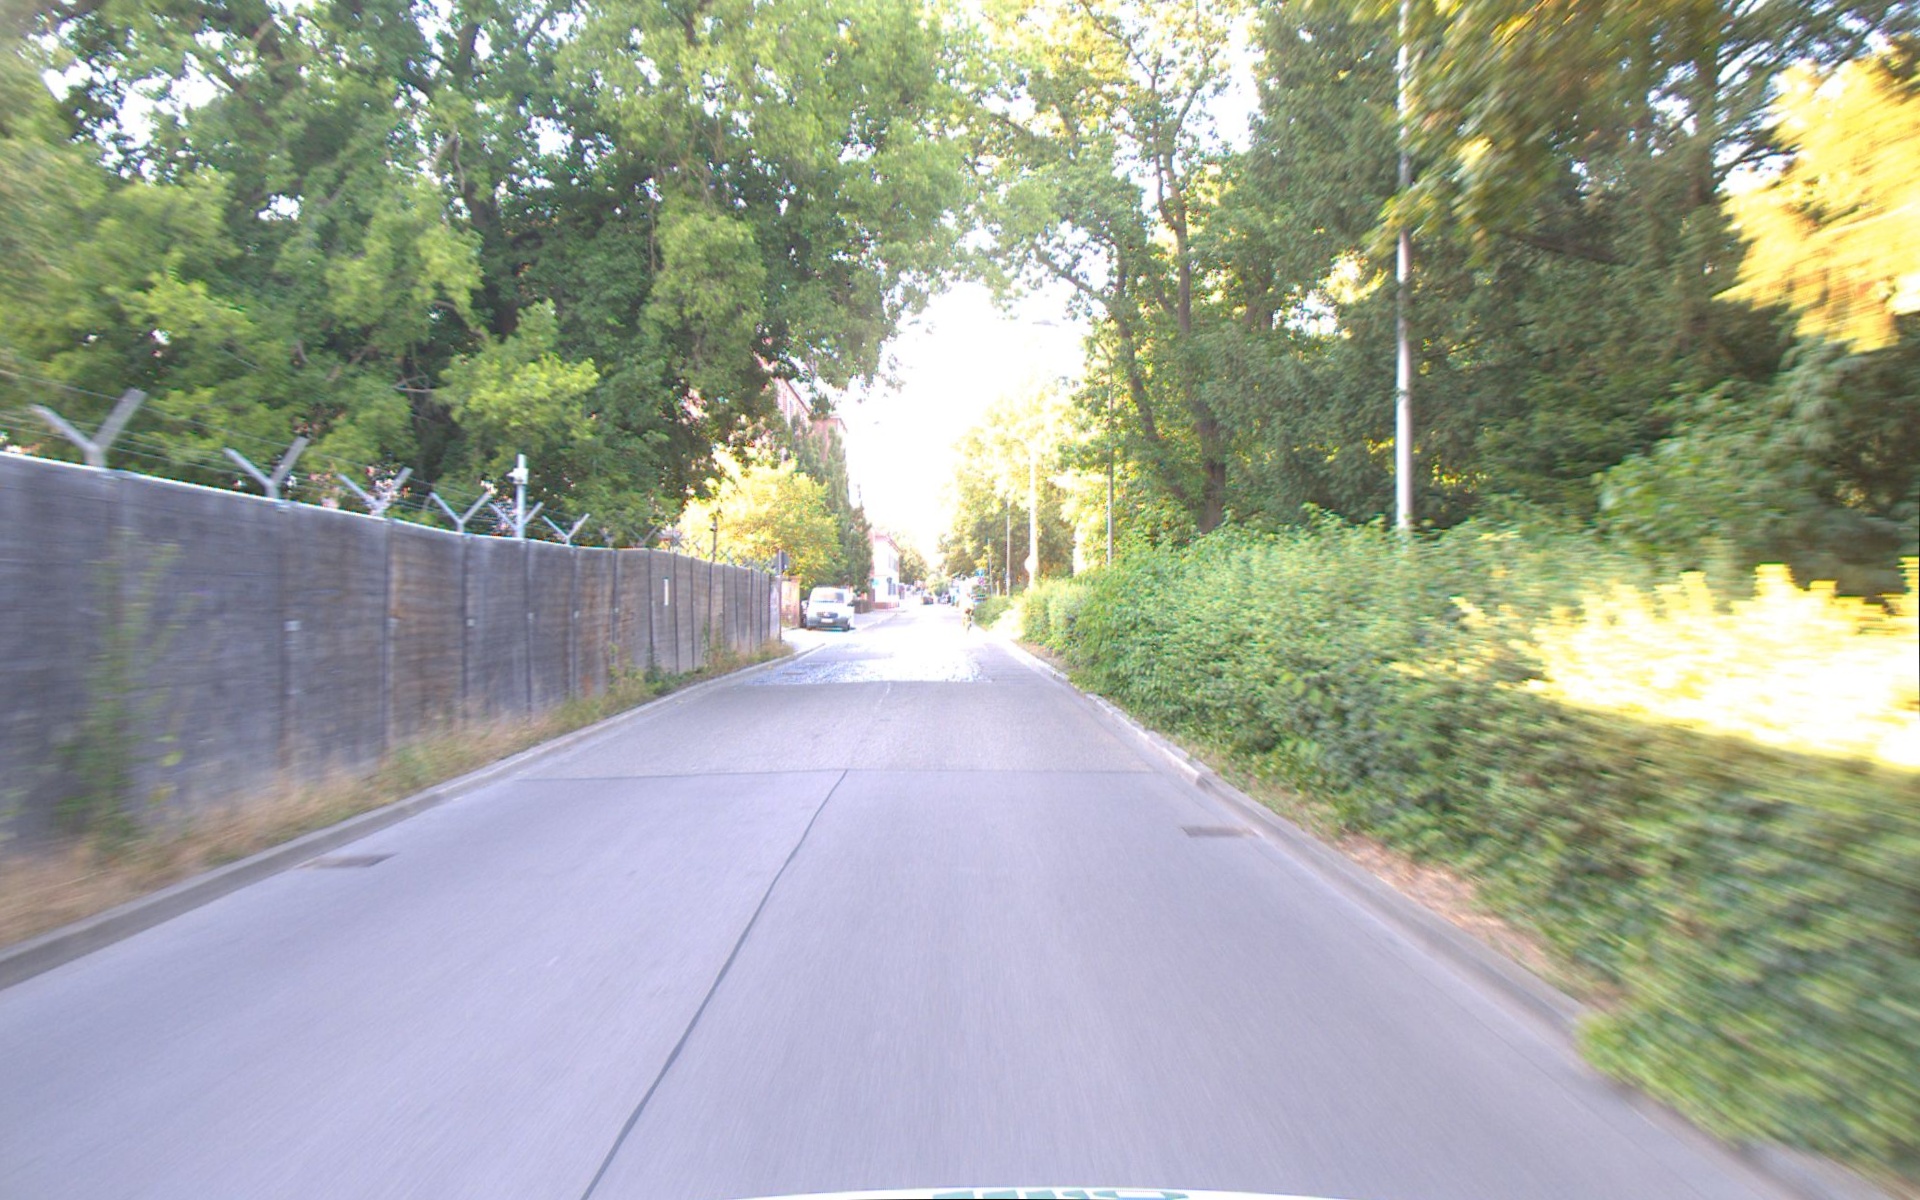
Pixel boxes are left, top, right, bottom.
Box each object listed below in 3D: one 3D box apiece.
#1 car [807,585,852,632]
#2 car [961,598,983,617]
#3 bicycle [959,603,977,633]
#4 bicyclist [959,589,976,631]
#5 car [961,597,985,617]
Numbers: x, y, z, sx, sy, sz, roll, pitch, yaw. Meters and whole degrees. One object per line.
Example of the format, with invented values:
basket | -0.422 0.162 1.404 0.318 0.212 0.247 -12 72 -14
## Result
car | -5.907 0.410 75.256 1.845 2.049 5.223 1 -1 -3
car | 1.062 0.704 148.567 1.682 1.564 4.046 -3 -1 -3
bicycle | 0.301 0.717 67.248 0.625 1.214 1.875 1 0 -3
bicyclist | 0.298 0.392 67.439 0.626 1.696 0.842 1 0 -3
car | 1.049 0.566 134.984 1.652 1.472 3.669 -3 -1 -3
